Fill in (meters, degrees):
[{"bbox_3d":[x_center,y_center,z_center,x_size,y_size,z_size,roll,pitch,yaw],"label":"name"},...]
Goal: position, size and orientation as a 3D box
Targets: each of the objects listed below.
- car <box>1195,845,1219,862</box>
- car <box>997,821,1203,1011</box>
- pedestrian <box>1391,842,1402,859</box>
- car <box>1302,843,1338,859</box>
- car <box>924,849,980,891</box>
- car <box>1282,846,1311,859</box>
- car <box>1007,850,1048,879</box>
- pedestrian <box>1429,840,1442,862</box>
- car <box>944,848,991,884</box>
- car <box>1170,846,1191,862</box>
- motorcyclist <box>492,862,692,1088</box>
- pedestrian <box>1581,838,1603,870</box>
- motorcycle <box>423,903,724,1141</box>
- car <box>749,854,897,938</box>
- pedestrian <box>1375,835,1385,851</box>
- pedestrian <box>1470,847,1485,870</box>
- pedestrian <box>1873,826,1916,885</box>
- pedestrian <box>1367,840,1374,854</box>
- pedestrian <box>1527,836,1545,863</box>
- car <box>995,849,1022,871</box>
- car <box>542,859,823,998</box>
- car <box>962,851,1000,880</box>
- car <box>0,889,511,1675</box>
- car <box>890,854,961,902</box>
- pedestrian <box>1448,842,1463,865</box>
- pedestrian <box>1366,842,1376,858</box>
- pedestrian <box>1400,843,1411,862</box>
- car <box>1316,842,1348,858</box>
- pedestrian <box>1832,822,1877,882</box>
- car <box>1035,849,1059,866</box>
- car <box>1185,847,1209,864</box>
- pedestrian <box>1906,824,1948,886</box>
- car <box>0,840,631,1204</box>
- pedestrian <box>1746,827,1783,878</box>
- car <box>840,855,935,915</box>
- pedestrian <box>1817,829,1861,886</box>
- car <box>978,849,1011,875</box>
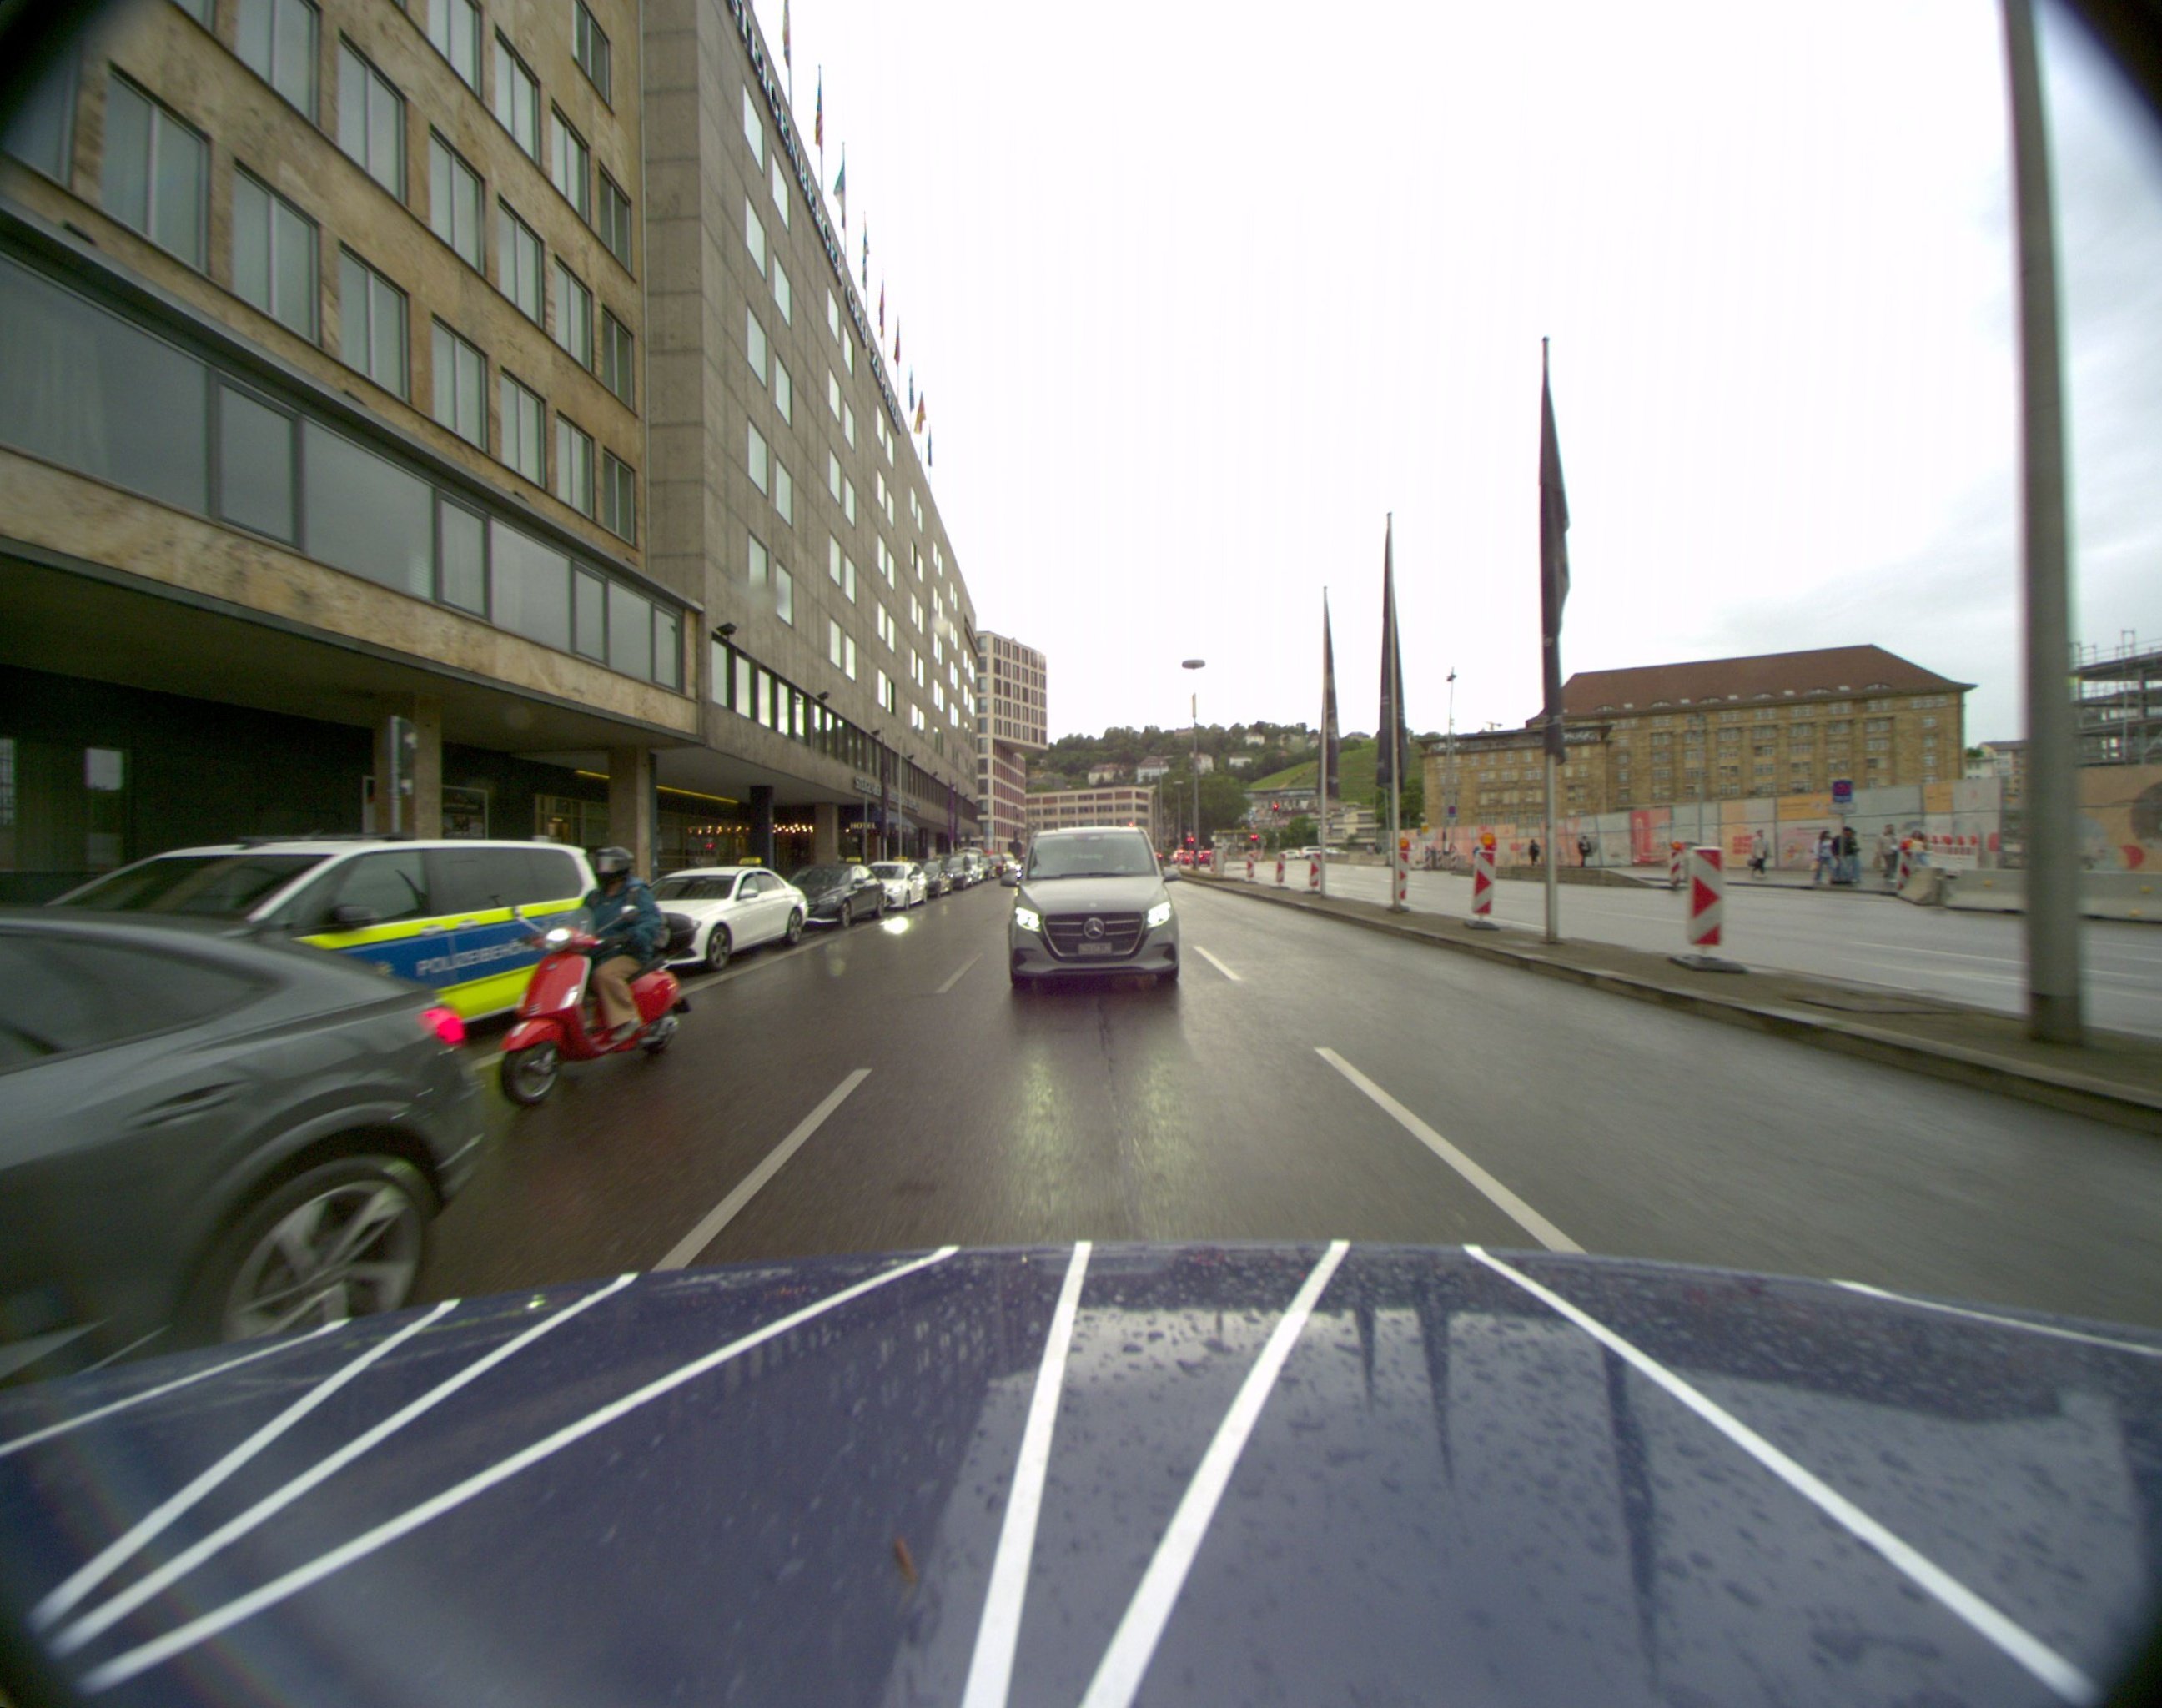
[{"bbox_3d":[12.500,-0.065,75.537,1.785,1.684,3.916,-1,1,0],"label":"car"},{"bbox_3d":[0.230,0.586,10.241,1.998,1.849,5.159,-2,1,1],"label":"car"},{"bbox_3d":[29.039,-0.333,69.941,0.715,1.607,0.544,-2,1,1],"label":"pedestrian"},{"bbox_3d":[31.499,-0.388,100.085,4.394,2.002,2.002,-2,1,17],"label":"car"},{"bbox_3d":[-6.061,0.700,36.248,1.731,1.733,4.813,-2,1,0],"label":"car"},{"bbox_3d":[34.687,-0.216,122.132,4.194,1.847,1.832,-2,1,6],"label":"car"},{"bbox_3d":[-3.188,0.612,46.305,2.089,1.540,4.587,-2,1,0],"label":"car"},{"bbox_3d":[27.491,-0.234,58.957,0.715,1.607,0.544,-2,1,1],"label":"pedestrian"},{"bbox_3d":[-6.106,0.618,41.443,1.731,1.733,4.813,-2,1,0],"label":"car"},{"bbox_3d":[11.741,-0.007,89.752,1.785,1.684,3.915,-2,1,-1],"label":"car"},{"bbox_3d":[-3.594,0.845,5.678,0.861,1.519,0.844,-2,1,1],"label":"motorcyclist"},{"bbox_3d":[25.905,-0.003,38.536,0.715,1.607,0.544,-2,1,1],"label":"pedestrian"},{"bbox_3d":[-3.604,1.108,5.693,0.848,1.299,1.965,-2,1,1],"label":"motorcycle"},{"bbox_3d":[-6.059,0.896,18.536,1.879,1.628,4.813,-2,1,0],"label":"car"},{"bbox_3d":[30.055,-1.088,76.327,0.715,1.607,0.544,-2,1,5],"label":"pedestrian"},{"bbox_3d":[27.652,0.299,52.943,0.715,1.607,0.544,-2,1,1],"label":"pedestrian"},{"bbox_3d":[24.723,0.048,23.099,0.714,1.734,0.564,-2,2,21],"label":"pedestrian"},{"bbox_3d":[33.448,-0.800,87.743,0.714,1.607,0.544,-2,2,20],"label":"pedestrian"},{"bbox_3d":[27.876,-0.270,46.573,0.715,1.607,0.544,-2,1,1],"label":"pedestrian"},{"bbox_3d":[-5.951,0.456,62.448,1.731,1.604,4.000,-2,1,0],"label":"car"},{"bbox_3d":[-6.067,0.994,12.454,1.879,1.628,5.010,-2,1,0],"label":"car"},{"bbox_3d":[-6.149,0.682,46.951,1.731,1.604,4.000,-2,1,0],"label":"car"},{"bbox_3d":[-3.152,0.951,0.676,1.883,1.493,4.342,-2,1,1],"label":"car"},{"bbox_3d":[-6.044,0.874,30.078,1.731,1.583,4.813,-2,1,0],"label":"car"},{"bbox_3d":[26.990,-0.016,54.760,0.715,1.607,0.544,-2,1,1],"label":"pedestrian"},{"bbox_3d":[29.176,-0.405,76.437,0.715,1.607,0.544,-2,1,5],"label":"pedestrian"},{"bbox_3d":[27.989,-0.144,65.554,0.715,1.607,0.544,-2,1,1],"label":"pedestrian"},{"bbox_3d":[34.208,-0.554,103.563,3.992,2.002,2.002,-2,1,17],"label":"car"},{"bbox_3d":[24.355,-0.074,23.934,0.714,1.825,0.718,-2,2,19],"label":"pedestrian"},{"bbox_3d":[-3.423,0.326,76.970,2.089,1.540,4.587,-2,1,0],"label":"car"},{"bbox_3d":[12.270,0.118,80.676,1.785,1.684,3.915,-2,1,-1],"label":"car"},{"bbox_3d":[25.418,0.024,22.838,0.661,1.825,0.556,-2,2,21],"label":"pedestrian"},{"bbox_3d":[-6.289,0.878,6.450,1.879,1.909,4.934,-2,1,0],"label":"car"},{"bbox_3d":[25.073,-0.055,27.875,0.664,1.825,0.720,-2,1,1],"label":"pedestrian"},{"bbox_3d":[-6.034,0.890,24.264,1.731,1.583,4.813,-2,1,0],"label":"car"},{"bbox_3d":[23.406,0.095,23.483,0.714,1.723,0.718,-2,2,19],"label":"pedestrian"},{"bbox_3d":[-5.904,0.489,52.128,1.731,1.604,4.000,-2,1,0],"label":"car"}]
